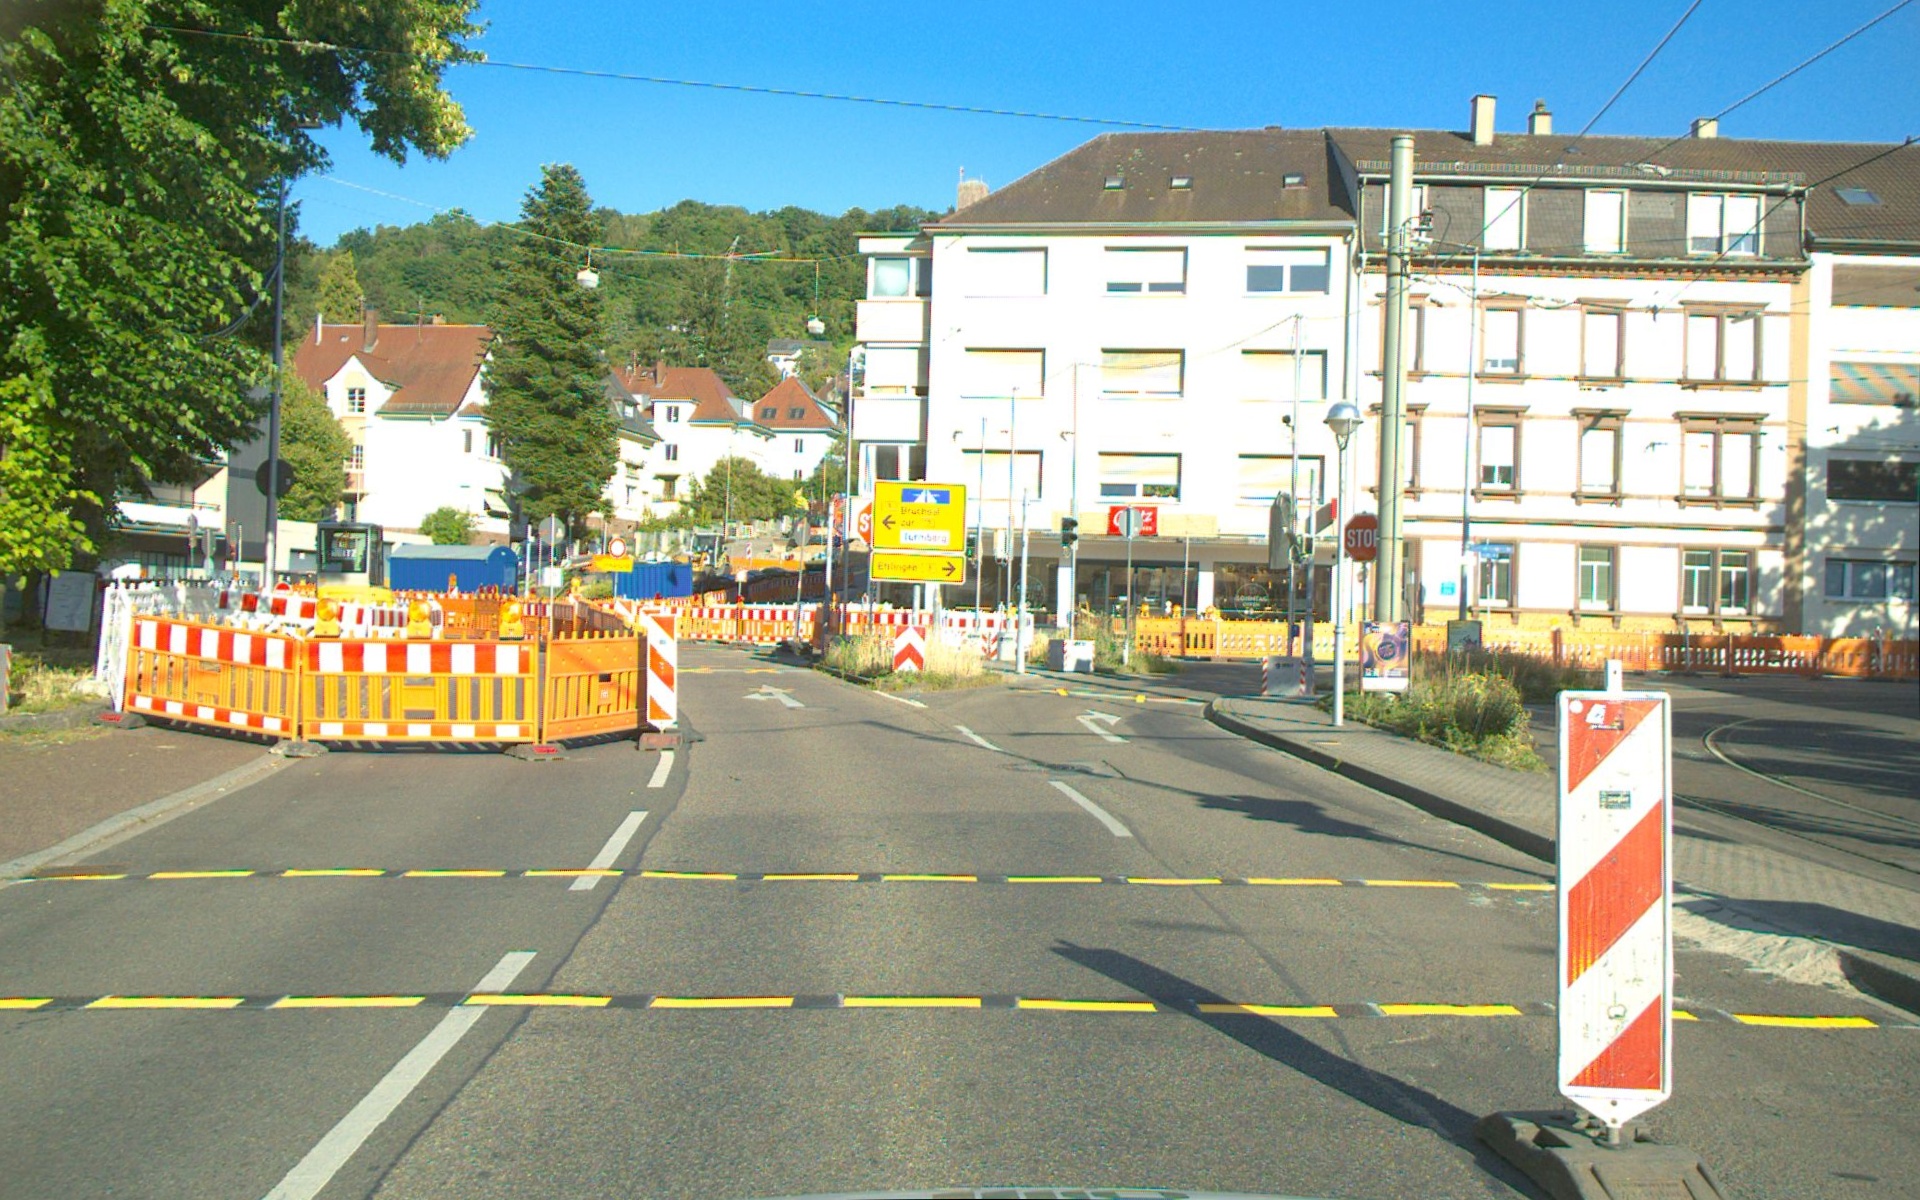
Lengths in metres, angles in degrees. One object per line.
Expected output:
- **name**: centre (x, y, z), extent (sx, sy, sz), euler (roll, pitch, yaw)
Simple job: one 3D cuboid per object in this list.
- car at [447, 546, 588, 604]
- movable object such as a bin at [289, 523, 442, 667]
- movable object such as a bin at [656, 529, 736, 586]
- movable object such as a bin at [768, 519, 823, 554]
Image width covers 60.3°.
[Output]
- **car**: centre (-17.516, -0.943, 65.889), extent (2.529, 2.158, 6.154), euler (1, 0, 17)
- **movable object such as a bin**: centre (-10.449, -0.094, 29.341), extent (1.615, 2.365, 3.916), euler (1, 0, -6)
- **movable object such as a bin**: centre (-12.530, -2.005, 78.790), extent (1.907, 2.538, 4.554), euler (1, 0, 17)
- **movable object such as a bin**: centre (-11.372, -4.394, 114.741), extent (2.510, 2.159, 5.789), euler (1, 0, 8)
